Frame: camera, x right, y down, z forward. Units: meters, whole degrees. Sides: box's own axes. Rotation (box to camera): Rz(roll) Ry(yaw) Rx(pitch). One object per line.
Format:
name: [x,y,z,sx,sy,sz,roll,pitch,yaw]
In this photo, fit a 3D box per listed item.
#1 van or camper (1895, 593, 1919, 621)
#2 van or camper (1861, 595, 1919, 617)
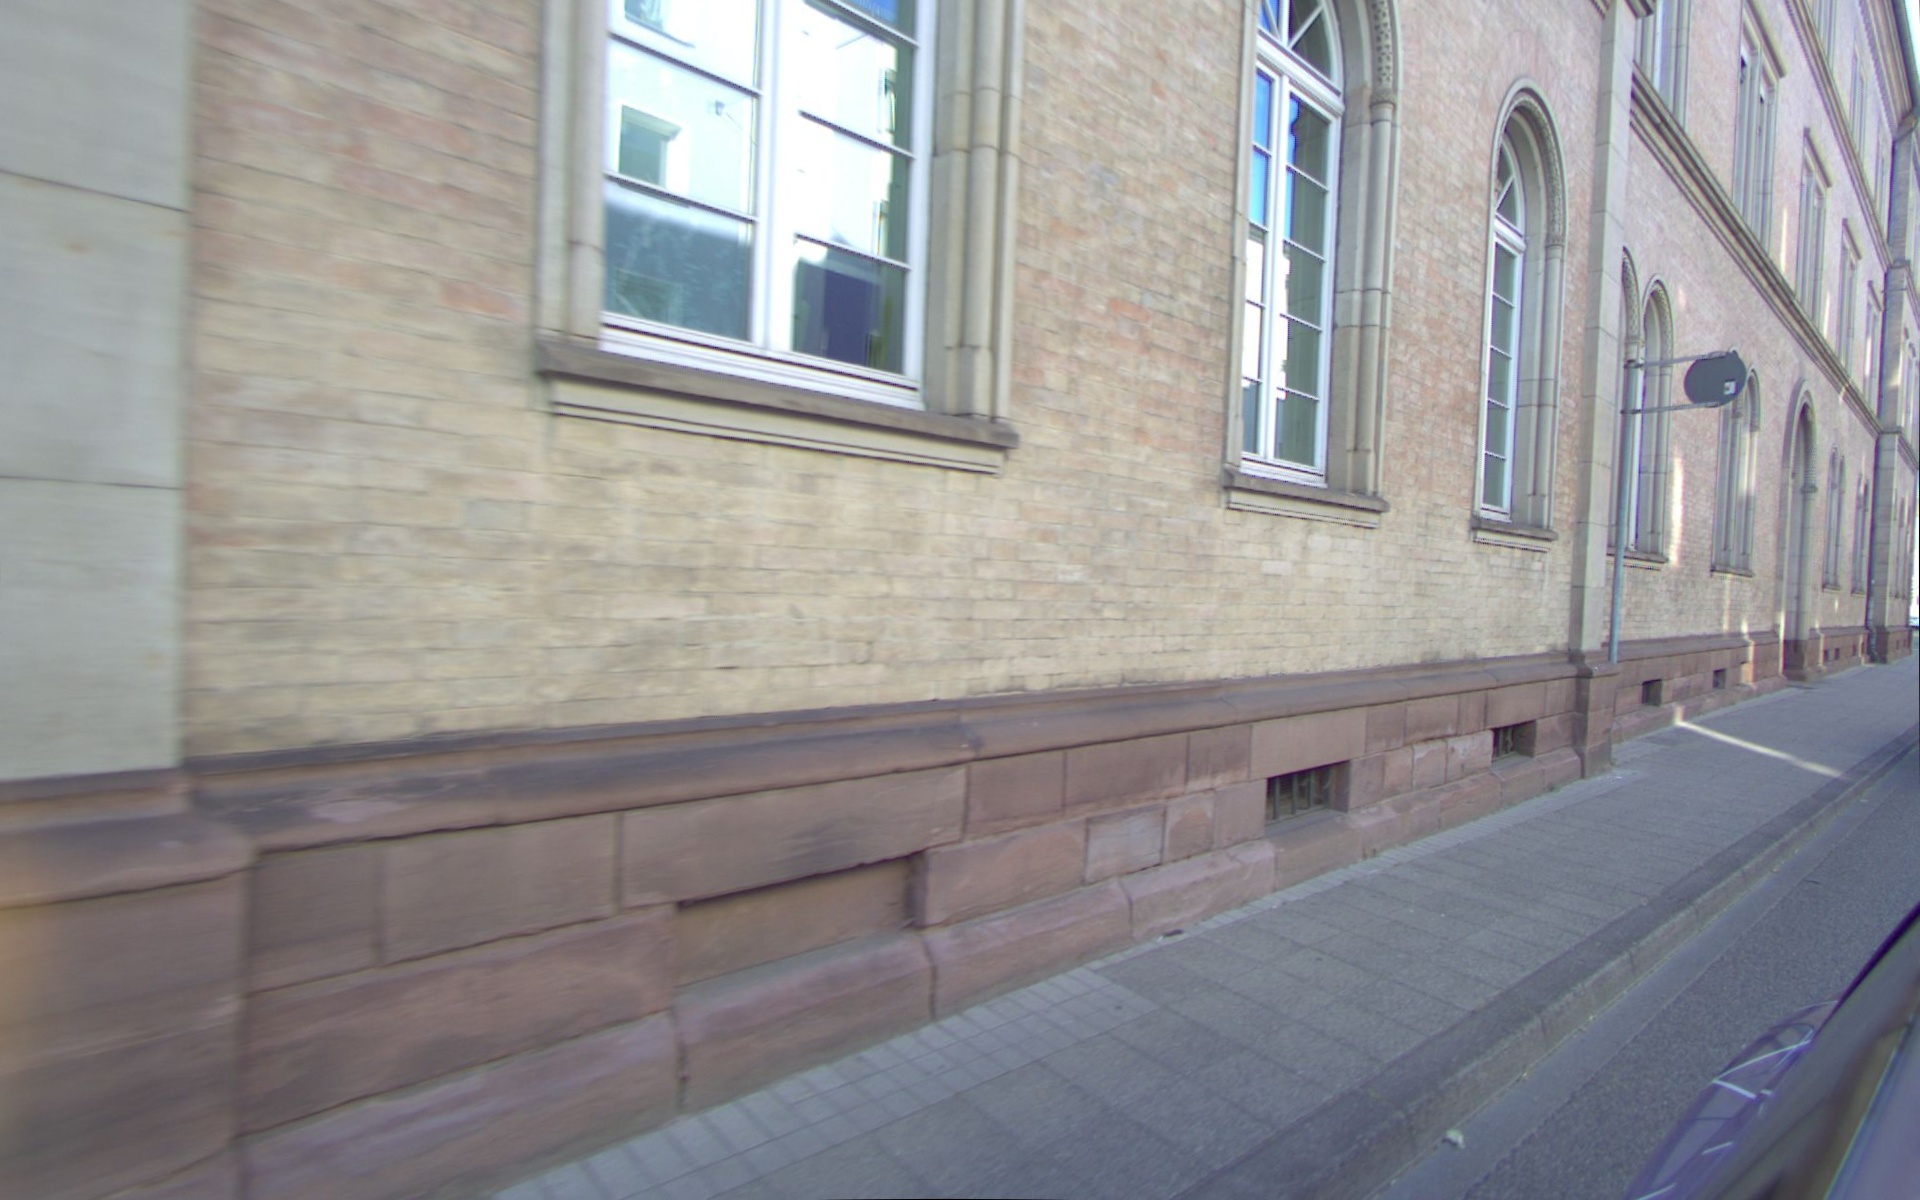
van or camper: [72.996,0.520,76.938,2.150,2.038,4.913,3,2,35]
van or camper: [96.845,0.644,104.863,4.685,2.113,1.982,3,1,26]
